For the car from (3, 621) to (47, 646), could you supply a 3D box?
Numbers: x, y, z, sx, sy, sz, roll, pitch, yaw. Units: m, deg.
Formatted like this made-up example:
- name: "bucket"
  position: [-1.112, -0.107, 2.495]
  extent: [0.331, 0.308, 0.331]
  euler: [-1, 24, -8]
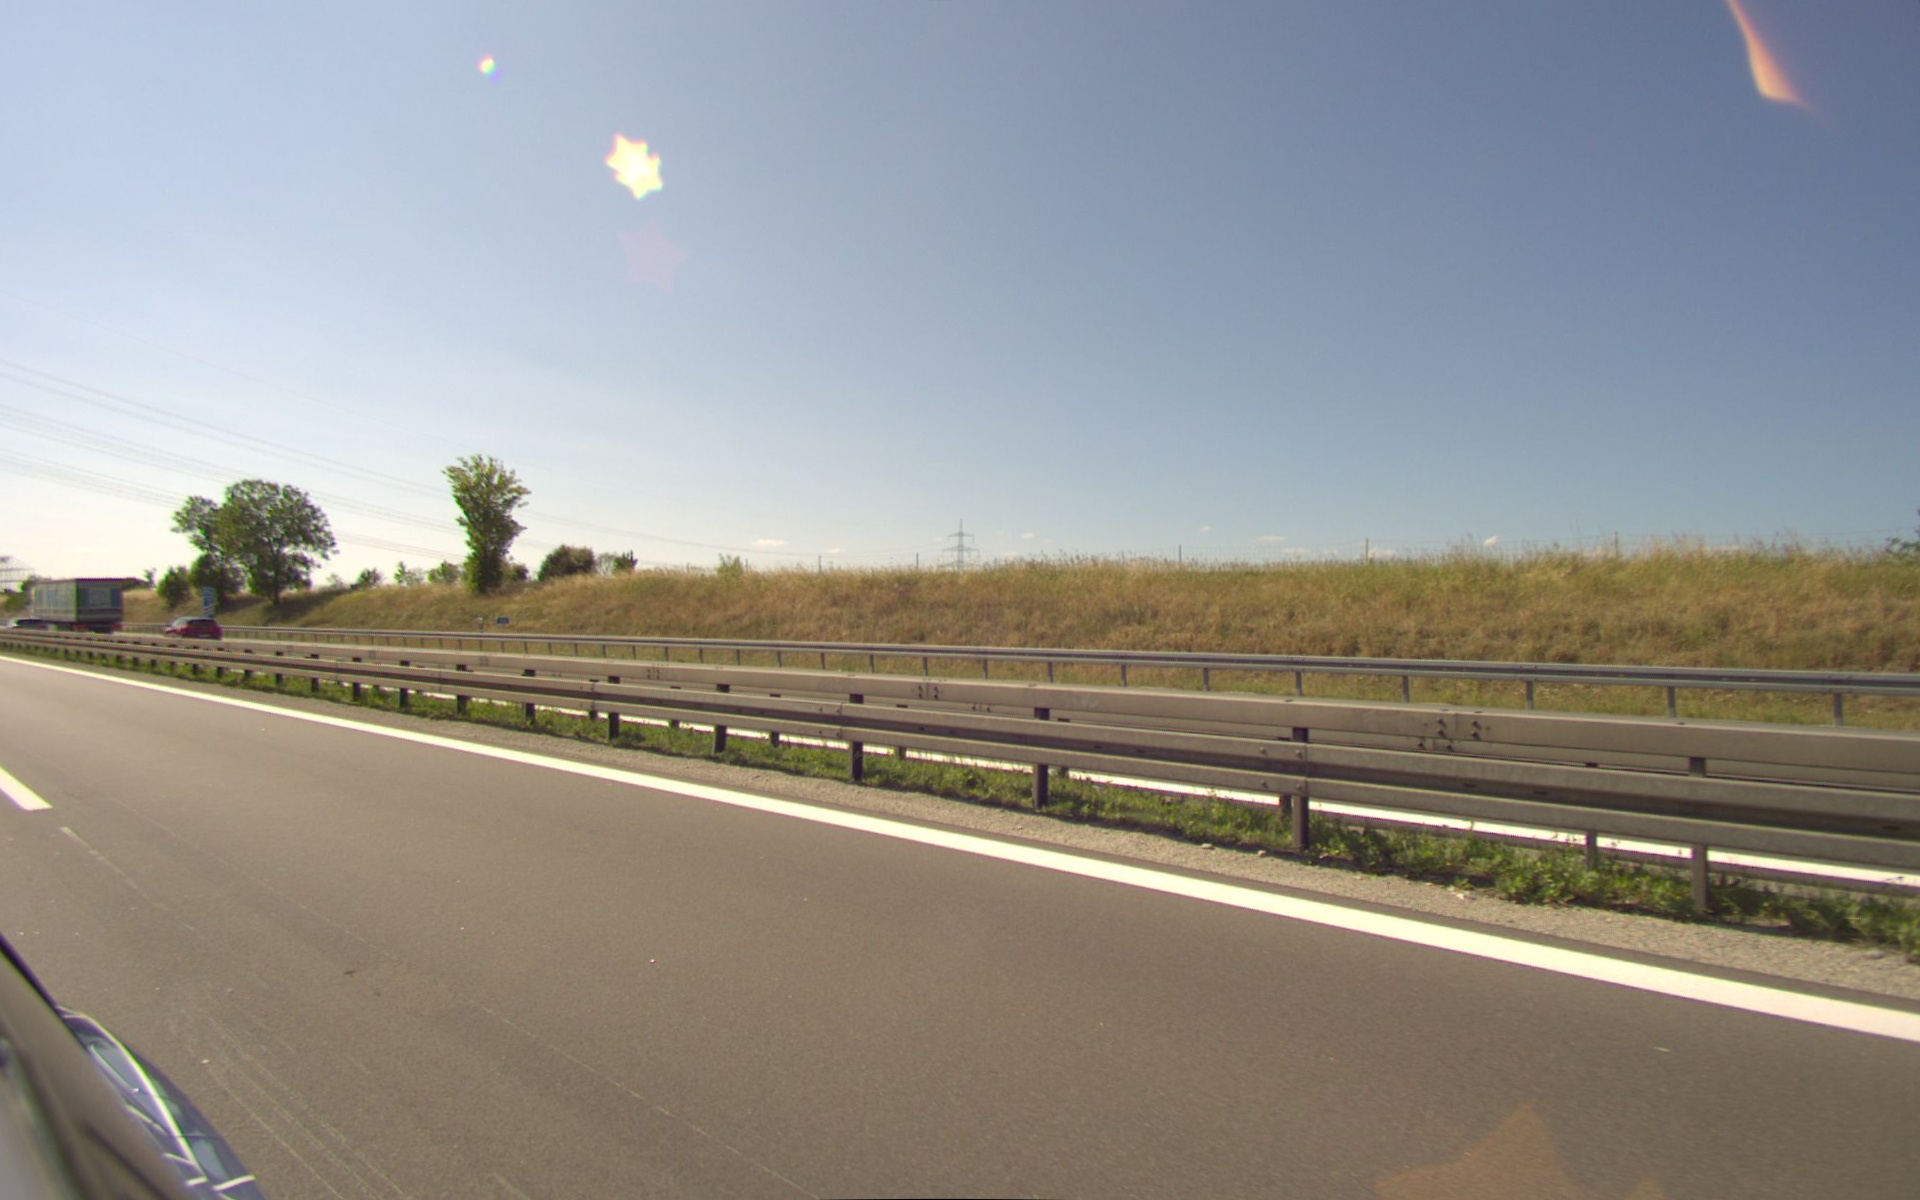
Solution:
- name: "car"
  position: [-58.054, 2.053, 62.829]
  extent: [3.924, 1.441, 1.569]
  euler: [-1, -1, 40]

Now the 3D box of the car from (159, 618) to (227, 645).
- name: "car"
  position: [-40.106, 1.621, 52.886]
  extent: [4.550, 1.370, 1.886]
  euler: [-1, -1, 40]

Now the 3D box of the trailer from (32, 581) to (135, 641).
- name: "trailer"
  position: [-63.380, 0.824, 72.987]
  extent: [14.037, 4.029, 3.577]
  euler: [-1, -1, 40]

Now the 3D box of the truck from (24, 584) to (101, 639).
- name: "truck"
  position: [-68.896, 0.888, 77.671]
  extent: [6.119, 4.029, 3.578]
  euler: [-1, -1, 40]
